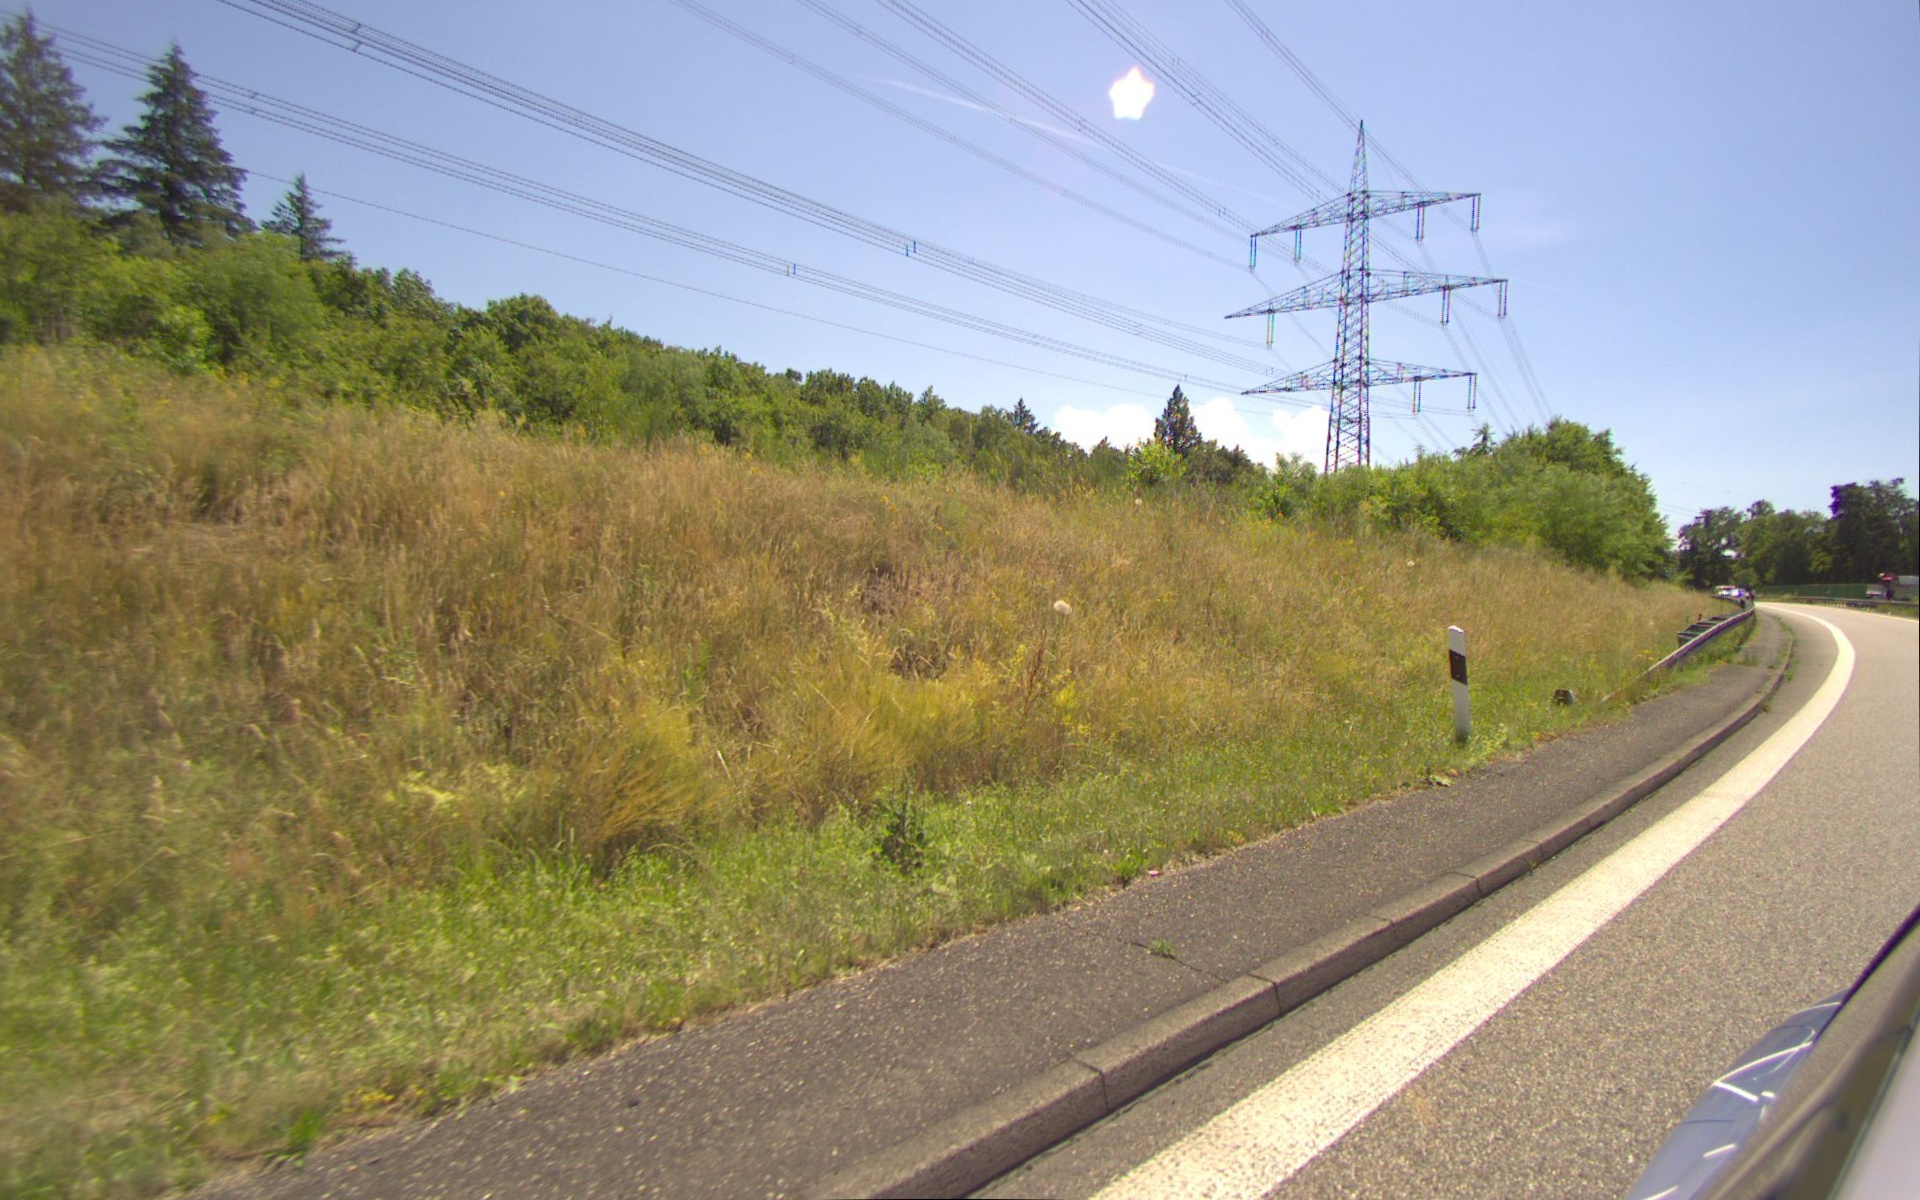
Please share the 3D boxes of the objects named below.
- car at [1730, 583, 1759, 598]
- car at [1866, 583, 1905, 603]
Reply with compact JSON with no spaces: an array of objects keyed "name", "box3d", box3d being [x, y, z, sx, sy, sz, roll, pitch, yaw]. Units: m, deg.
[{"name":"car","box3d":[91.491,-1.152,118.066,1.981,1.705,3.962,1,1,27]},{"name":"car","box3d":[84.284,-0.648,92.238,1.989,1.660,5.203,5,4,36]}]
